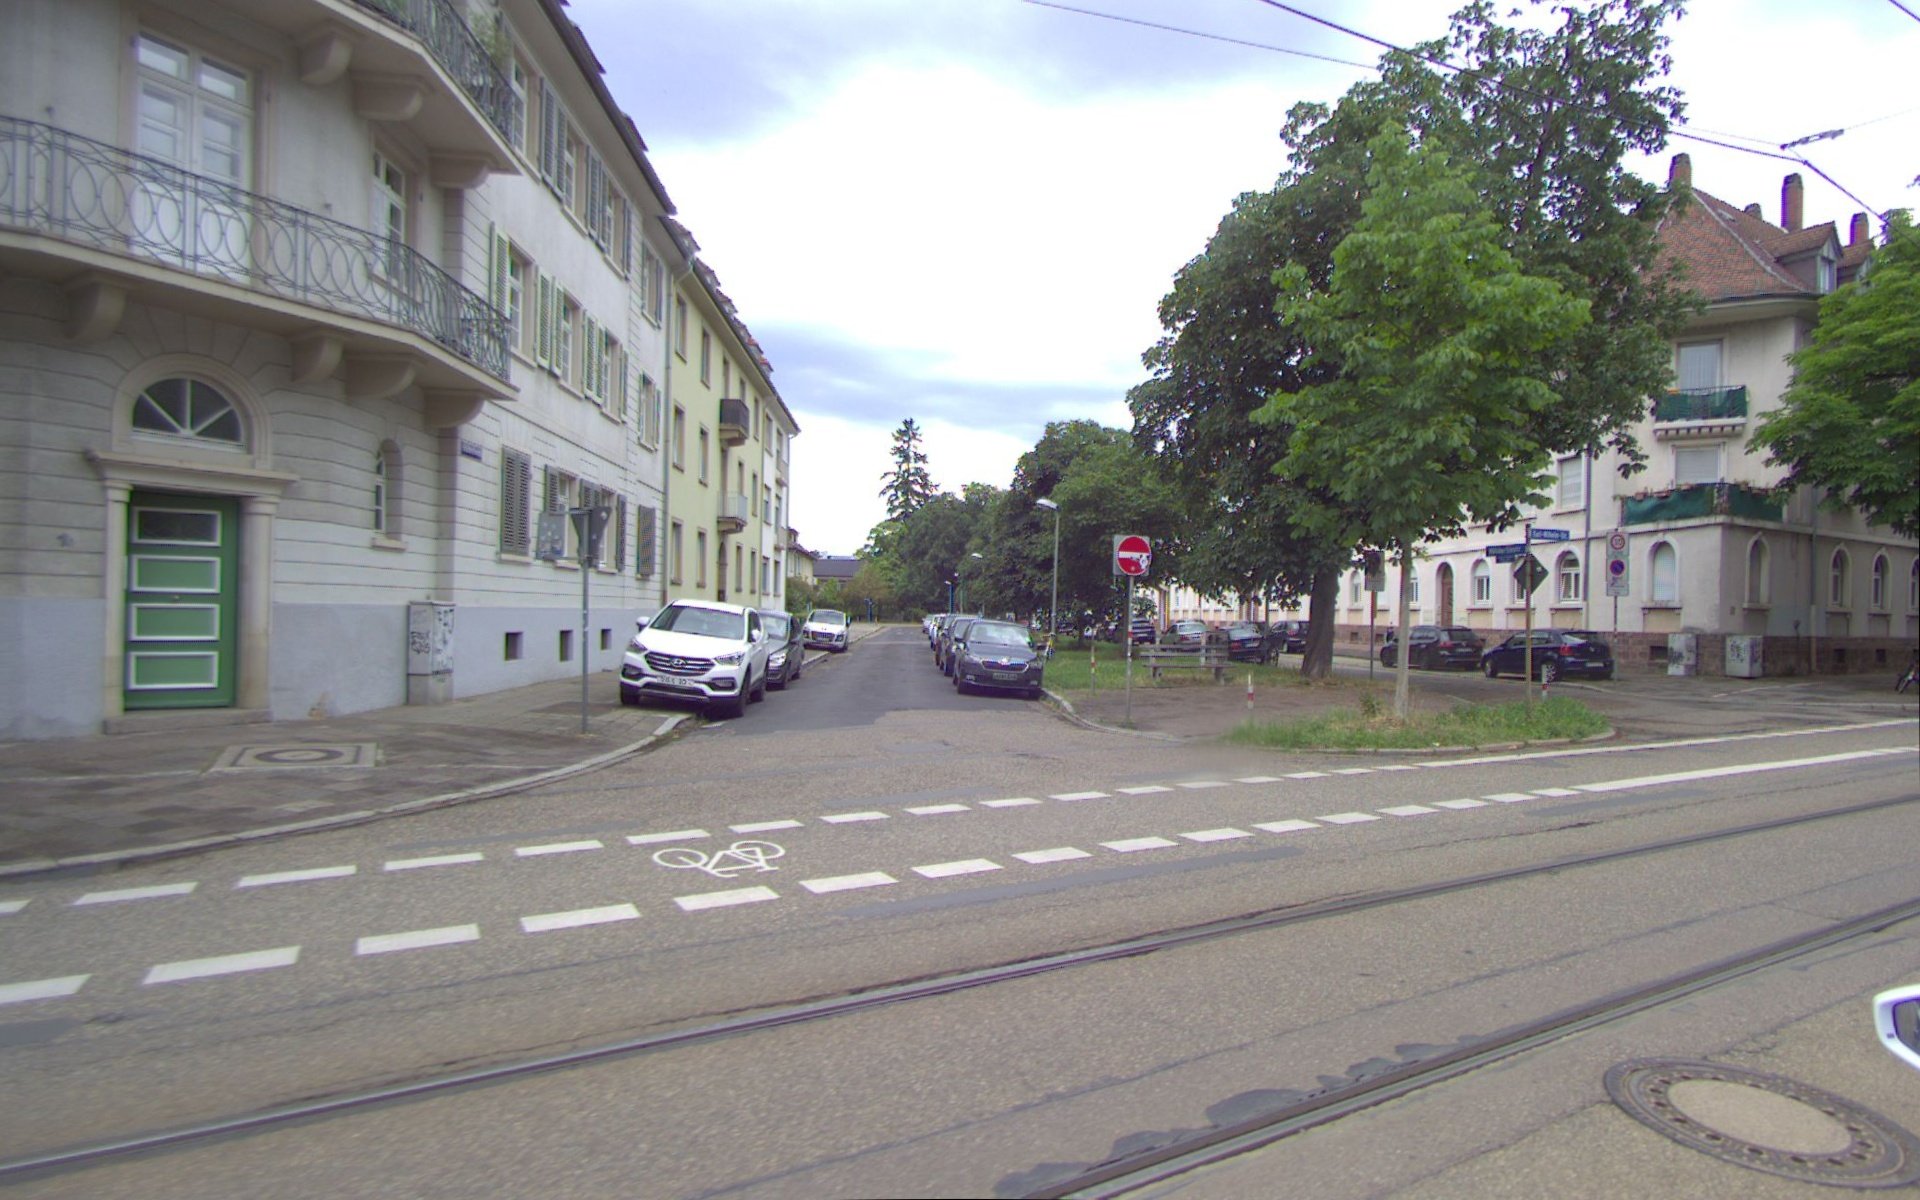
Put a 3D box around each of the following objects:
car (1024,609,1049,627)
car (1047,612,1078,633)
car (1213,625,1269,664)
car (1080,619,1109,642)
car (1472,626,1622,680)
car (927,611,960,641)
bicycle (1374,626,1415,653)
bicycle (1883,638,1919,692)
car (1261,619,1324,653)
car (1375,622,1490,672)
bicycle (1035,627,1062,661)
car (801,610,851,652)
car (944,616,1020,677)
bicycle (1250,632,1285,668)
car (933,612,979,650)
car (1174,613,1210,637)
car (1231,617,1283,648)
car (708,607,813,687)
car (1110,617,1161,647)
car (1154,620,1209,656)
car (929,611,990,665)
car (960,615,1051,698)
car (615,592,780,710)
[{"bbox_3d":[7.500,1.763,98.245,1.863,1.632,4.498,1,0,-3],"label":"car"},{"bbox_3d":[8.405,1.823,82.347,1.863,1.632,4.498,1,0,-3],"label":"car"},{"bbox_3d":[10.447,1.643,37.522,1.329,1.317,2.968,1,0,2],"label":"car"},{"bbox_3d":[8.802,1.975,65.769,1.270,1.409,3.117,1,0,-3],"label":"car"},{"bbox_3d":[16.231,1.429,28.017,1.708,1.324,3.758,1,-1,-6],"label":"car"},{"bbox_3d":[-1.007,1.501,59.211,1.729,1.573,4.187,2,0,-3],"label":"car"},{"bbox_3d":[18.160,1.635,42.049,0.641,1.049,2.190,1,0,-3],"label":"bicycle"},{"bbox_3d":[22.354,1.516,23.819,0.667,1.151,1.925,0,0,43],"label":"bicycle"},{"bbox_3d":[15.578,1.654,47.203,1.642,1.460,3.498,1,0,-3],"label":"car"},{"bbox_3d":[15.729,1.521,33.672,1.675,1.483,3.941,1,0,-7],"label":"car"},{"bbox_3d":[2.515,1.255,28.692,0.569,0.908,1.395,1,0,-2],"label":"bicycle"},{"bbox_3d":[-5.439,1.233,41.171,1.739,1.572,4.150,1,-1,-4],"label":"car"},{"bbox_3d":[0.508,1.165,26.410,1.633,1.364,4.008,2,0,-3],"label":"car"},{"bbox_3d":[8.734,1.405,28.582,0.440,0.937,1.674,1,0,-2],"label":"bicycle"},{"bbox_3d":[-0.221,1.322,43.545,1.768,1.573,4.187,0,-1,-4],"label":"car"},{"bbox_3d":[14.615,1.555,63.442,1.362,1.449,3.310,1,0,-3],"label":"car"},{"bbox_3d":[15.449,1.683,52.482,1.511,1.494,4.000,1,0,0],"label":"car"},{"bbox_3d":[-4.422,0.996,22.857,1.705,1.533,4.046,3,0,-3],"label":"car"},{"bbox_3d":[9.757,1.766,56.168,1.812,1.554,3.997,1,0,-5],"label":"car"},{"bbox_3d":[9.717,1.629,44.348,1.640,1.428,4.001,1,0,2],"label":"car"},{"bbox_3d":[-0.075,1.159,31.770,1.670,1.500,4.187,2,0,-3],"label":"car"},{"bbox_3d":[0.848,1.090,20.883,1.629,1.429,4.070,2,0,-1],"label":"car"},{"bbox_3d":[-4.175,0.758,16.728,1.902,1.685,4.513,1,0,-5],"label":"car"}]
